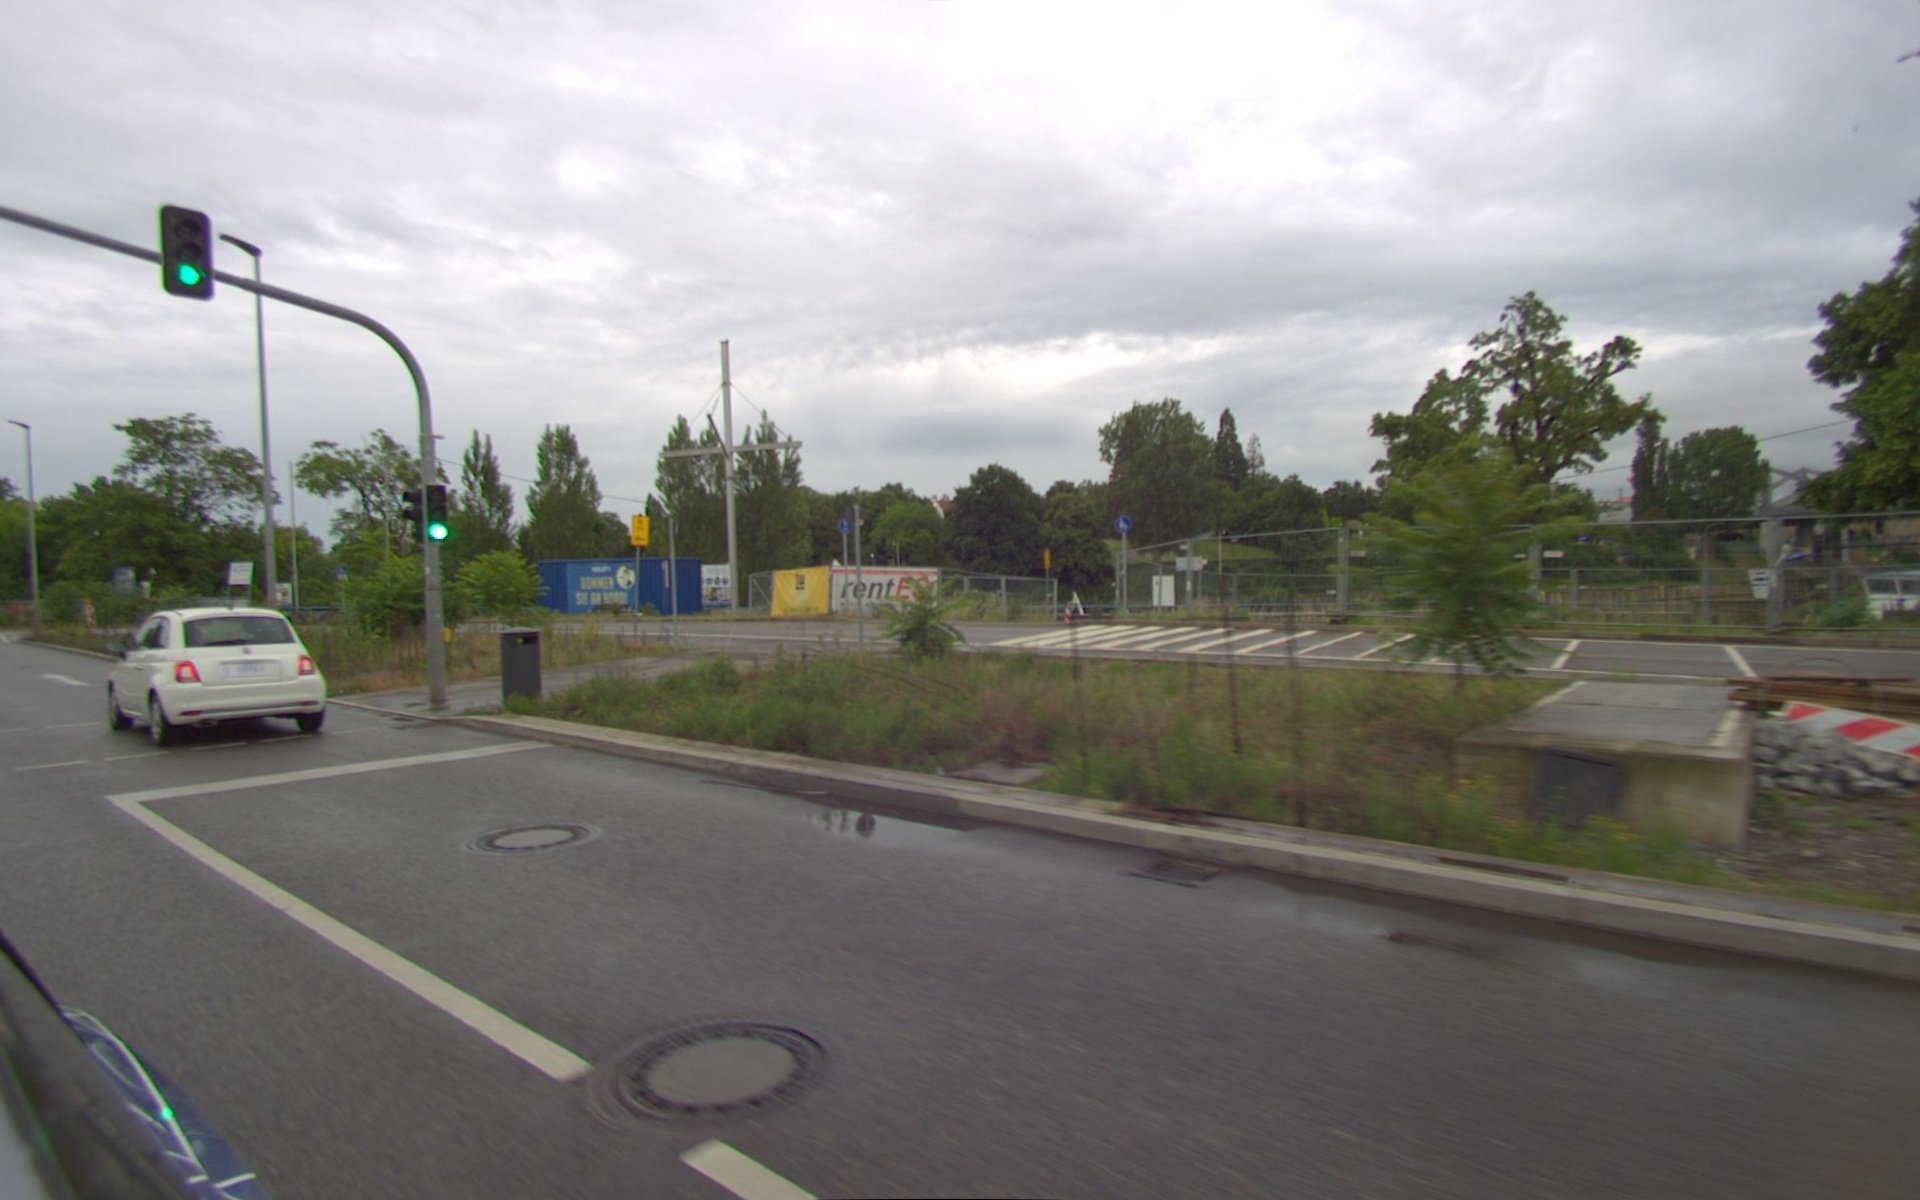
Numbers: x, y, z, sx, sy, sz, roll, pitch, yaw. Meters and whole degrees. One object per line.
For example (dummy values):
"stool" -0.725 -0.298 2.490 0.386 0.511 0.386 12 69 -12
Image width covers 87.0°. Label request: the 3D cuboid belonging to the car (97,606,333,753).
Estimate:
"car" -9.162 0.851 12.339 3.713 1.502 1.570 -1 0 42
